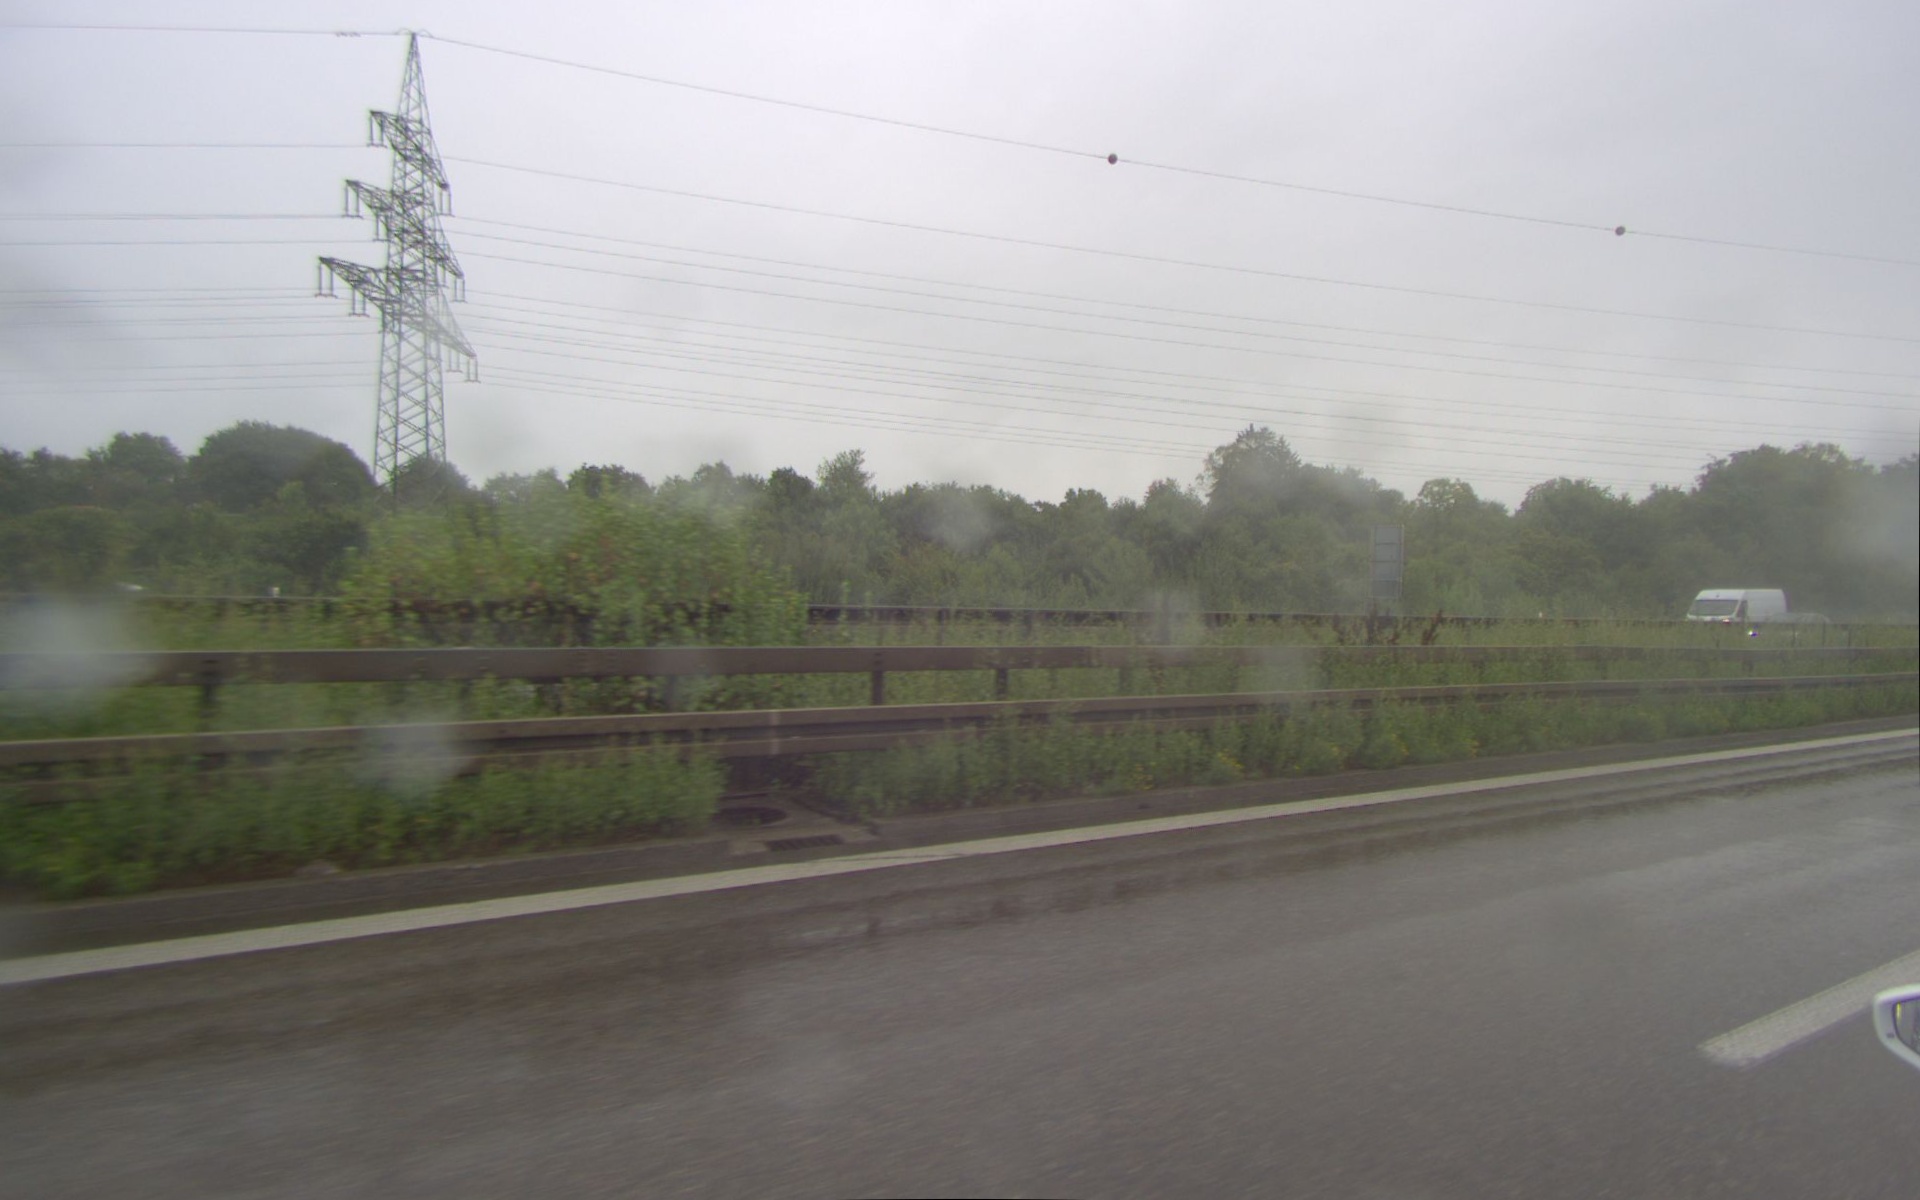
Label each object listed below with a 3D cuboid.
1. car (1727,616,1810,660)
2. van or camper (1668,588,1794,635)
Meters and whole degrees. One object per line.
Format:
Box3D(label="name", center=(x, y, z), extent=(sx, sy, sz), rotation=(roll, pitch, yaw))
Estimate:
Box3D(label="car", center=(29.660, 1.385, 36.832), extent=(3.220, 1.523, 1.299), rotation=(1, -2, -31))
Box3D(label="van or camper", center=(36.099, 0.527, 46.977), extent=(6.680, 1.999, 2.266), rotation=(1, 3, -31))
